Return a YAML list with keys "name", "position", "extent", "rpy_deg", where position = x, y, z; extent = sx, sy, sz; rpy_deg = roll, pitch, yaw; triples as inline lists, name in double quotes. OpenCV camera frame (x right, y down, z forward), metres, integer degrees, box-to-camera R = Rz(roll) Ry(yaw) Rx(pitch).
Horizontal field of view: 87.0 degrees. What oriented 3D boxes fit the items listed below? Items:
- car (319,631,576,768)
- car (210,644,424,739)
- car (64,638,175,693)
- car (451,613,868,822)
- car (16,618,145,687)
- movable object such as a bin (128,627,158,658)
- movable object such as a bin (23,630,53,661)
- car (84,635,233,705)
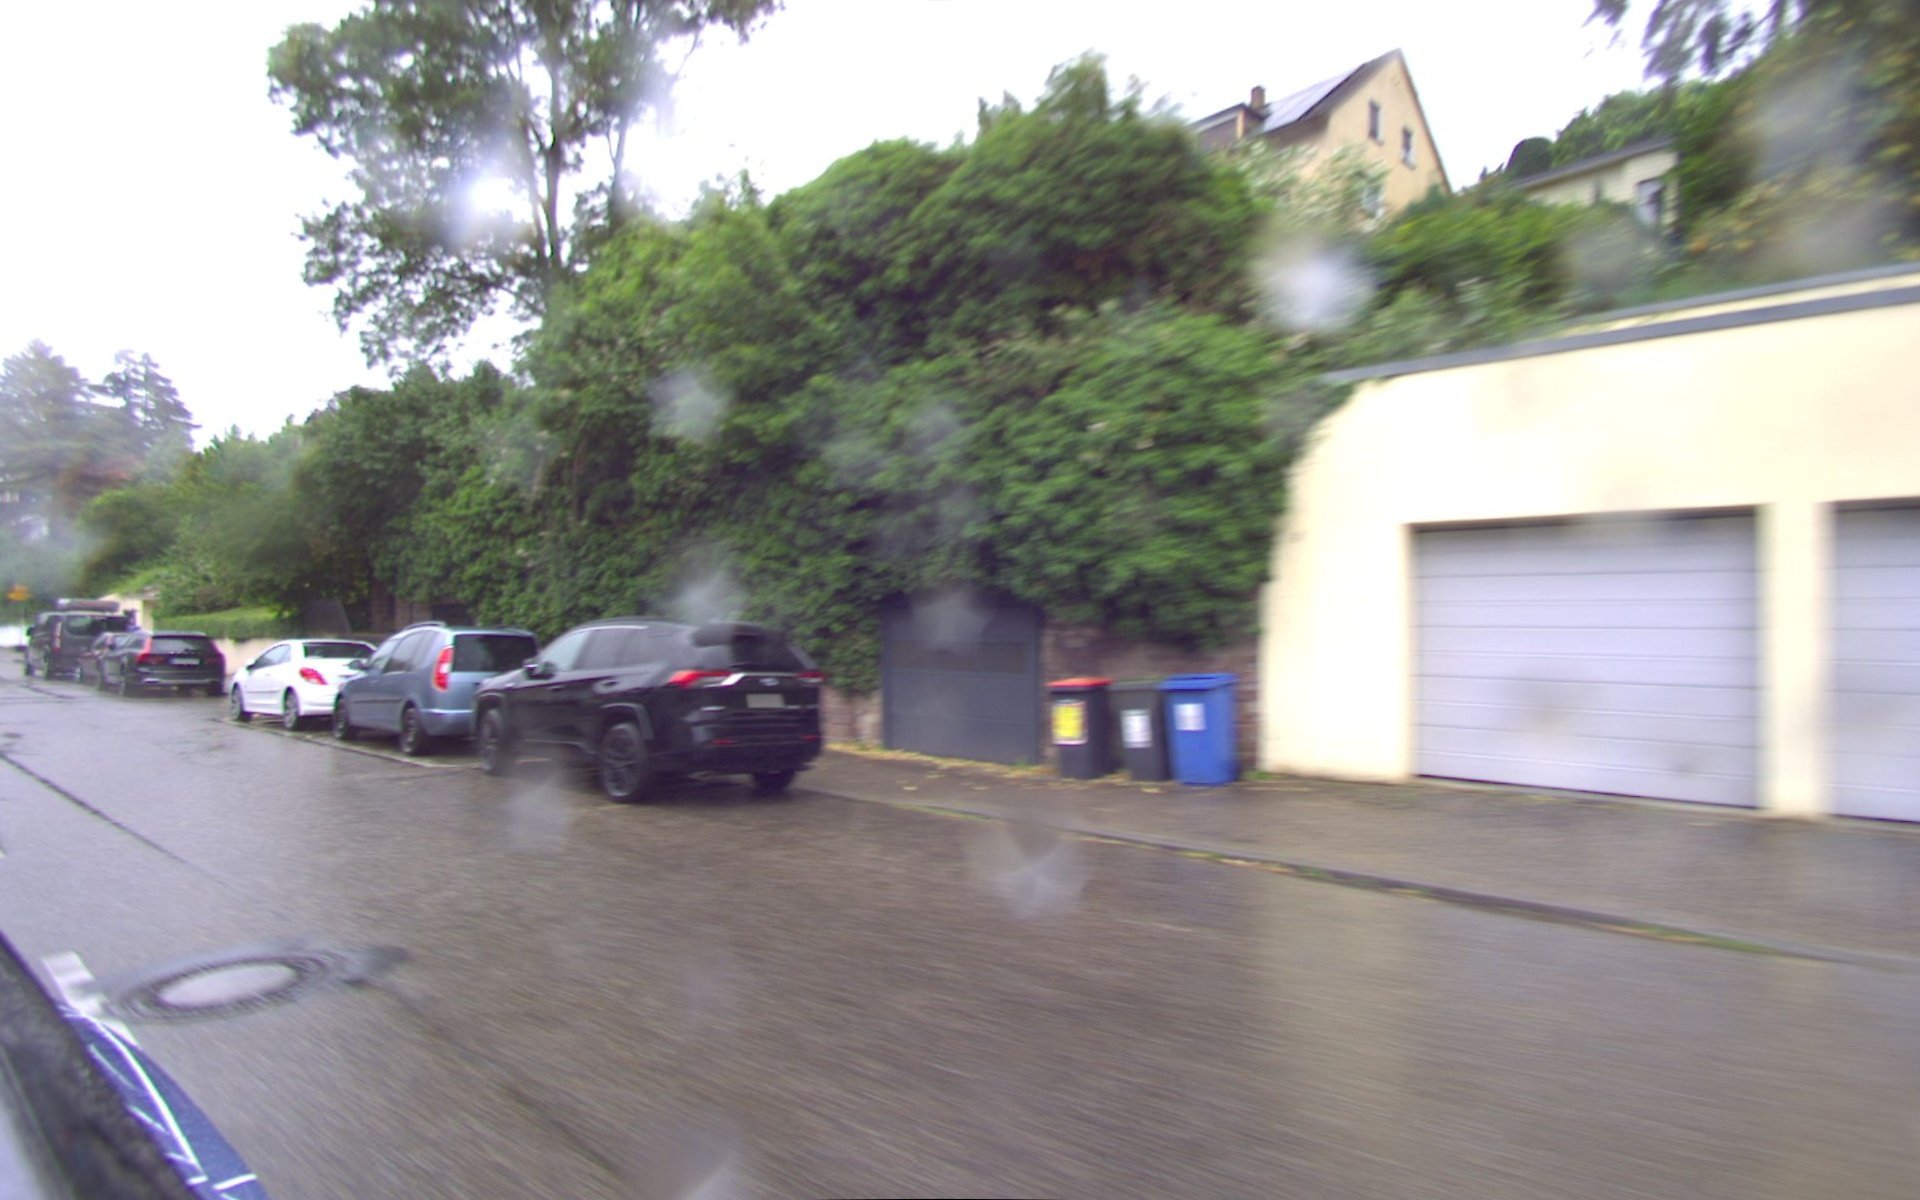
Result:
- name: "car"
  position: [-7.046, 1.254, 13.729]
  extent: [4.108, 1.573, 1.723]
  rpy_deg: [-2, -5, 43]
- name: "car"
  position: [-10.627, 1.447, 16.642]
  extent: [4.078, 1.376, 1.699]
  rpy_deg: [-2, -5, 39]
- name: "car"
  position: [-23.044, 1.759, 27.713]
  extent: [3.903, 1.375, 1.549]
  rpy_deg: [-1, -4, 39]
- name: "car"
  position: [-3.188, 1.062, 10.202]
  extent: [4.591, 1.638, 1.854]
  rpy_deg: [-2, -6, 42]
- name: "car"
  position: [-27.031, 1.549, 31.038]
  extent: [5.319, 1.933, 2.136]
  rpy_deg: [-1, -3, 40]
- name: "movable object such as a bin"
  position: [-35.625, 1.854, 44.108]
  extent: [1.402, 1.324, 0.811]
  rpy_deg: [-2, -2, 42]
- name: "movable object such as a bin"
  position: [-45.849, 2.268, 50.344]
  extent: [0.860, 1.456, 0.924]
  rpy_deg: [0, 2, 36]
- name: "car"
  position: [-19.154, 1.627, 24.103]
  extent: [4.753, 1.492, 1.888]
  rpy_deg: [-1, -5, 41]
